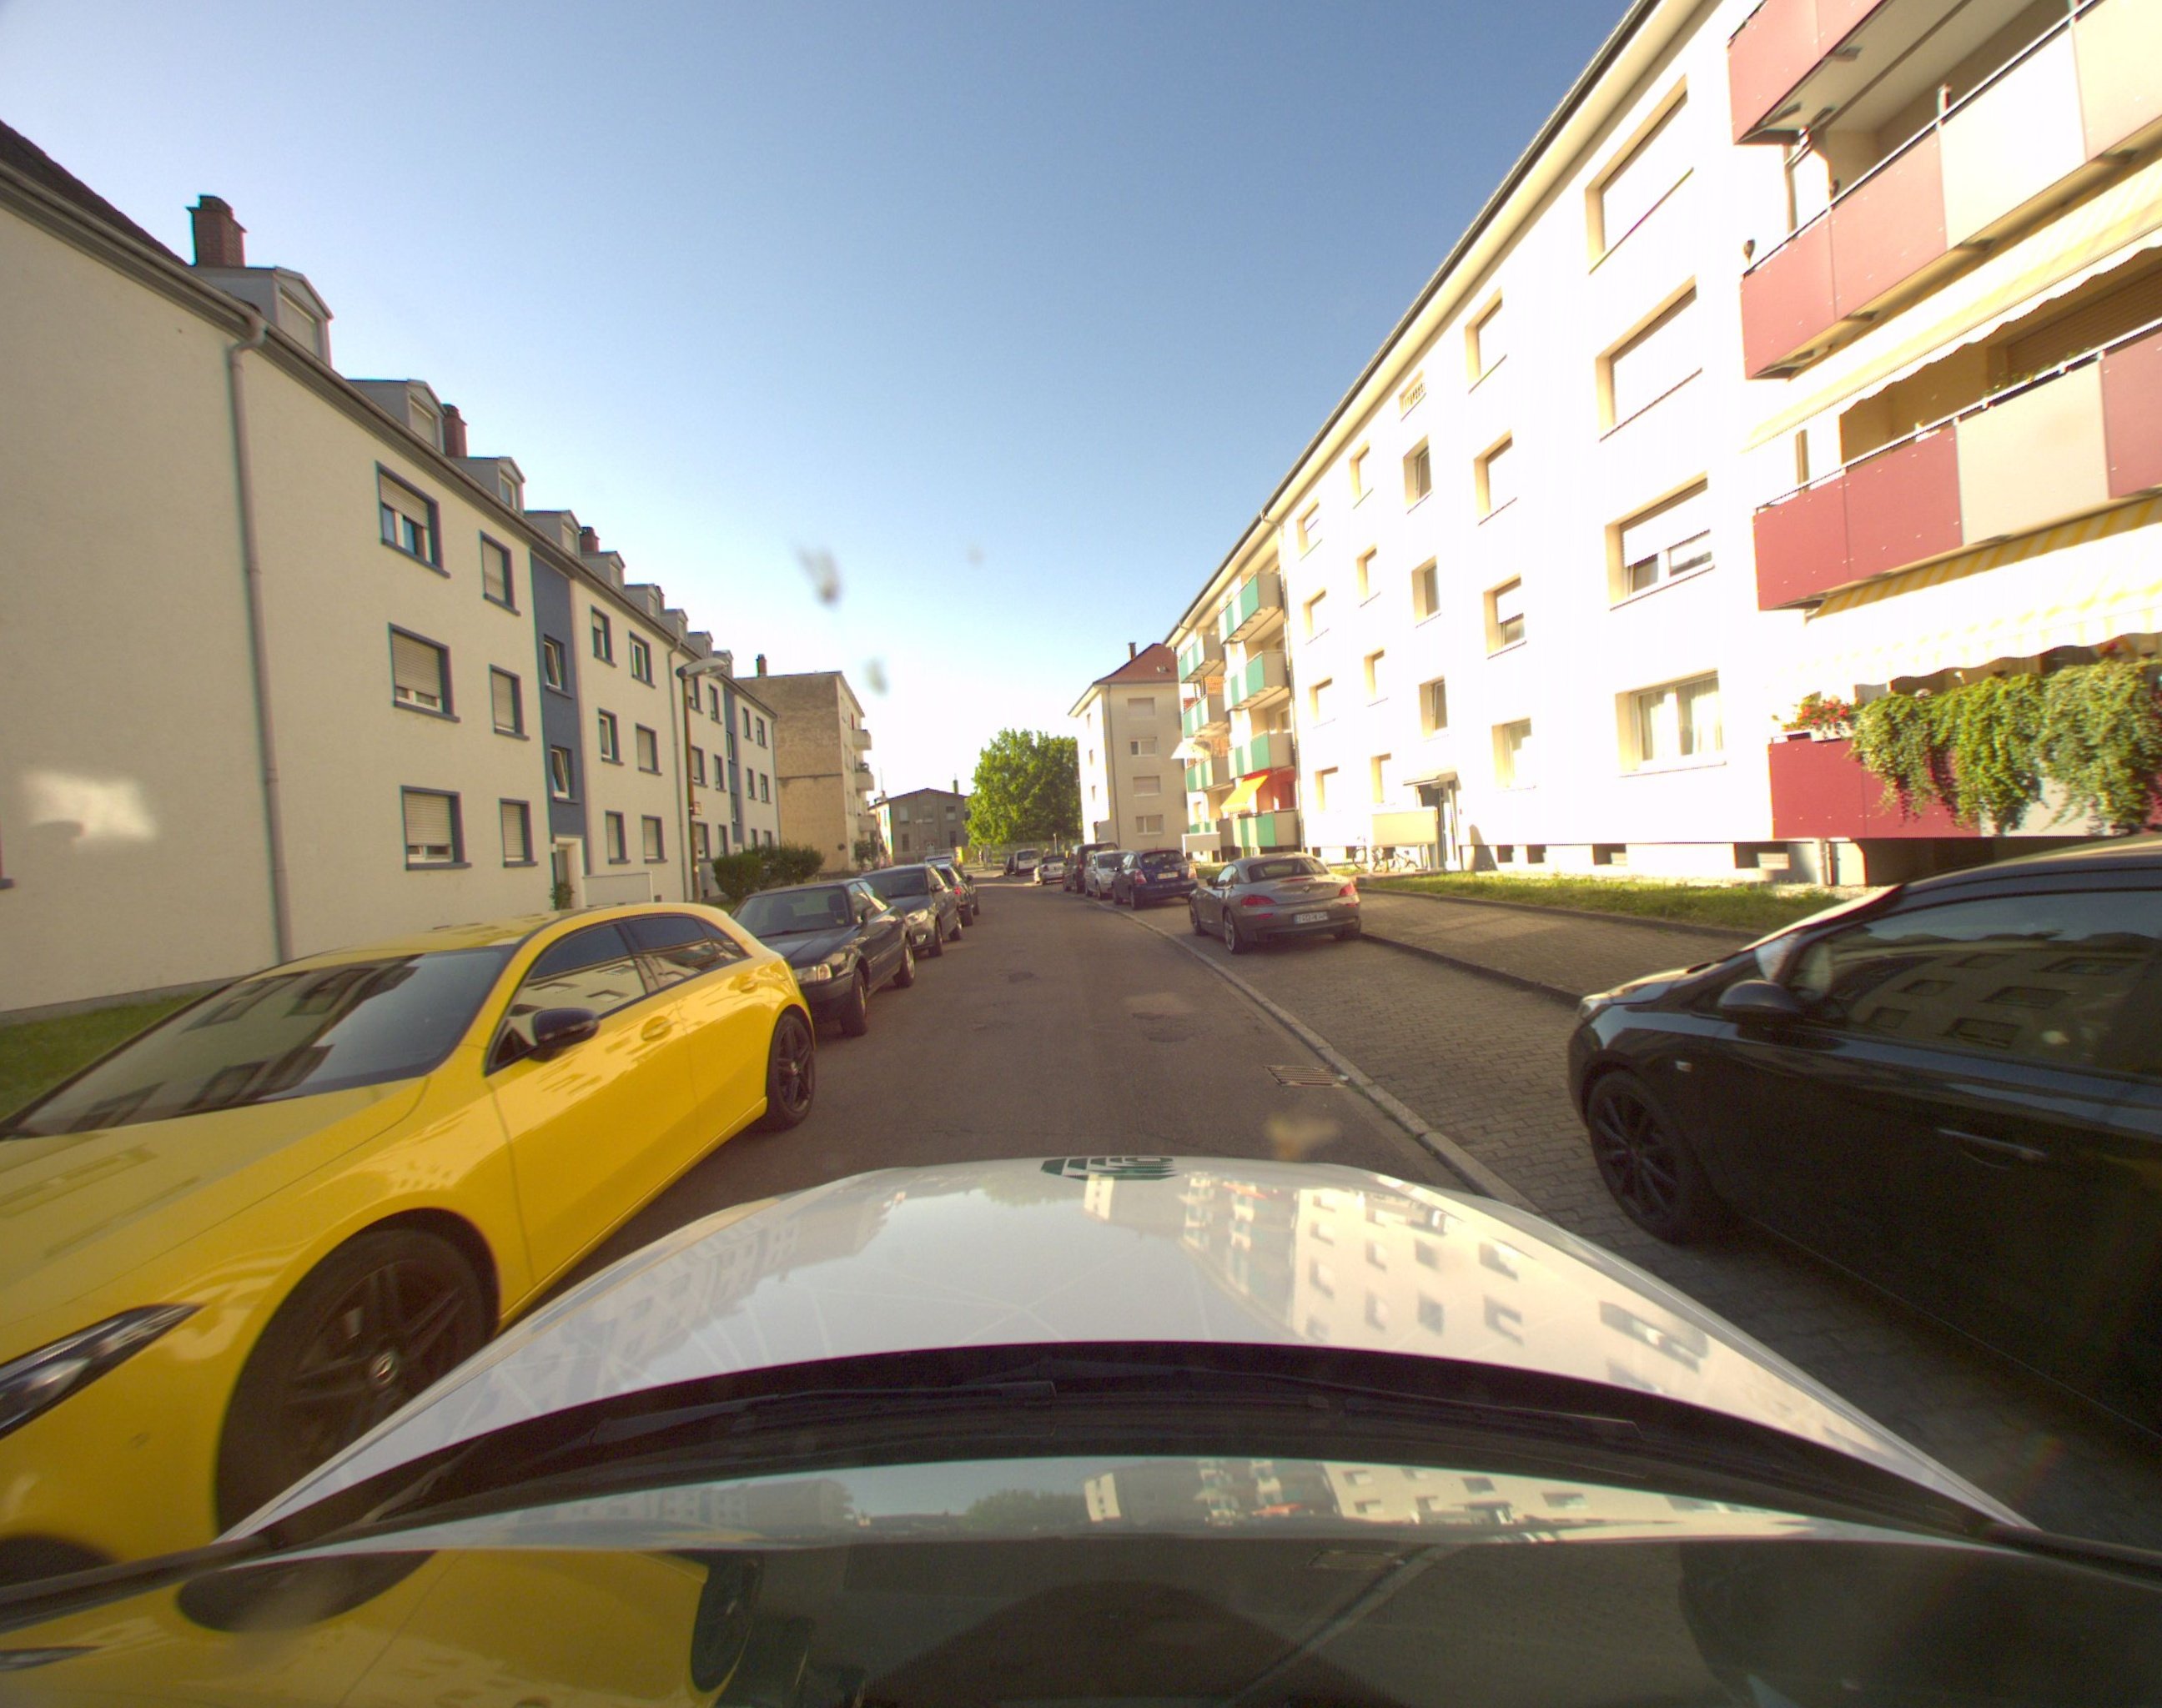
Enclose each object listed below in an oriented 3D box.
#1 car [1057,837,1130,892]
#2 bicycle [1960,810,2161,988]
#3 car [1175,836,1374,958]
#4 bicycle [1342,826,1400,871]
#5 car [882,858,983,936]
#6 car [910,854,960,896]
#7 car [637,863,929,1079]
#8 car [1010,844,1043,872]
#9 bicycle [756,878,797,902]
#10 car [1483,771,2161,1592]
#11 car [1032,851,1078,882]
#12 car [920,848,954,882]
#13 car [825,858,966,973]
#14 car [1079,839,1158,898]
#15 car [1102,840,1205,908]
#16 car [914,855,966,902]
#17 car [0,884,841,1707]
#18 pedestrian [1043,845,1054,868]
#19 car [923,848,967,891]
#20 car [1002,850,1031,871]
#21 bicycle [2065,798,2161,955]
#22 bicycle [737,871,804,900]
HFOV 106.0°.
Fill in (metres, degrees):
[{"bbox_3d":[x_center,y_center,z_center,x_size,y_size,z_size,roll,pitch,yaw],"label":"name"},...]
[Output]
[{"bbox_3d":[0.405,0.423,31.530,1.897,1.855,4.327,-5,0,-11],"label":"car"},{"bbox_3d":[6.594,0.260,4.892,0.496,1.019,1.840,-6,0,-2],"label":"bicycle"},{"bbox_3d":[2.723,0.535,12.518,1.682,1.363,4.234,-7,1,-4],"label":"car"},{"bbox_3d":[7.653,-0.162,21.575,0.649,1.068,1.729,-9,2,-6],"label":"bicycle"},{"bbox_3d":[-3.406,0.908,19.489,1.741,1.431,4.591,-7,0,-4],"label":"car"},{"bbox_3d":[-6.289,0.876,35.196,1.833,1.515,3.986,-6,0,-10],"label":"car"},{"bbox_3d":[-2.780,0.959,8.663,1.565,1.464,4.257,-6,1,-3],"label":"car"},{"bbox_3d":[-3.897,0.307,57.808,1.765,1.739,4.081,-6,0,-9],"label":"car"},{"bbox_3d":[-14.255,1.687,38.122,1.646,0.936,0.546,-6,0,-8],"label":"bicycle"},{"bbox_3d":[2.884,0.582,2.033,1.729,1.508,3.886,-7,0,1],"label":"car"},{"bbox_3d":[-1.387,0.630,41.942,1.717,1.364,4.042,-6,0,-9],"label":"car"},{"bbox_3d":[-9.854,0.771,55.817,1.994,2.013,4.439,-6,0,-10],"label":"car"},{"bbox_3d":[-2.995,0.912,13.867,1.475,1.477,3.629,-8,0,-2],"label":"car"},{"bbox_3d":[1.123,0.440,26.421,1.681,1.587,4.000,-5,0,-9],"label":"car"},{"bbox_3d":[1.811,0.499,21.822,1.737,1.431,4.345,-6,0,-7],"label":"car"},{"bbox_3d":[-5.213,0.879,30.216,1.659,1.443,3.858,-6,0,-10],"label":"car"},{"bbox_3d":[-2.517,1.008,3.296,1.688,1.389,4.157,-6,1,1],"label":"car"},{"bbox_3d":[-2.633,0.177,65.506,0.652,1.815,0.614,-6,0,0],"label":"pedestrian"},{"bbox_3d":[-6.732,0.764,40.413,1.897,1.855,4.181,-5,0,-10],"label":"car"},{"bbox_3d":[-5.031,0.523,63.218,1.765,1.362,4.081,-6,0,-9],"label":"car"},{"bbox_3d":[7.433,0.158,4.907,0.616,0.978,1.895,-8,2,-2],"label":"bicycle"},{"bbox_3d":[-13.528,1.368,35.560,2.674,1.130,0.769,-2,0,-16],"label":"bicycle"}]
